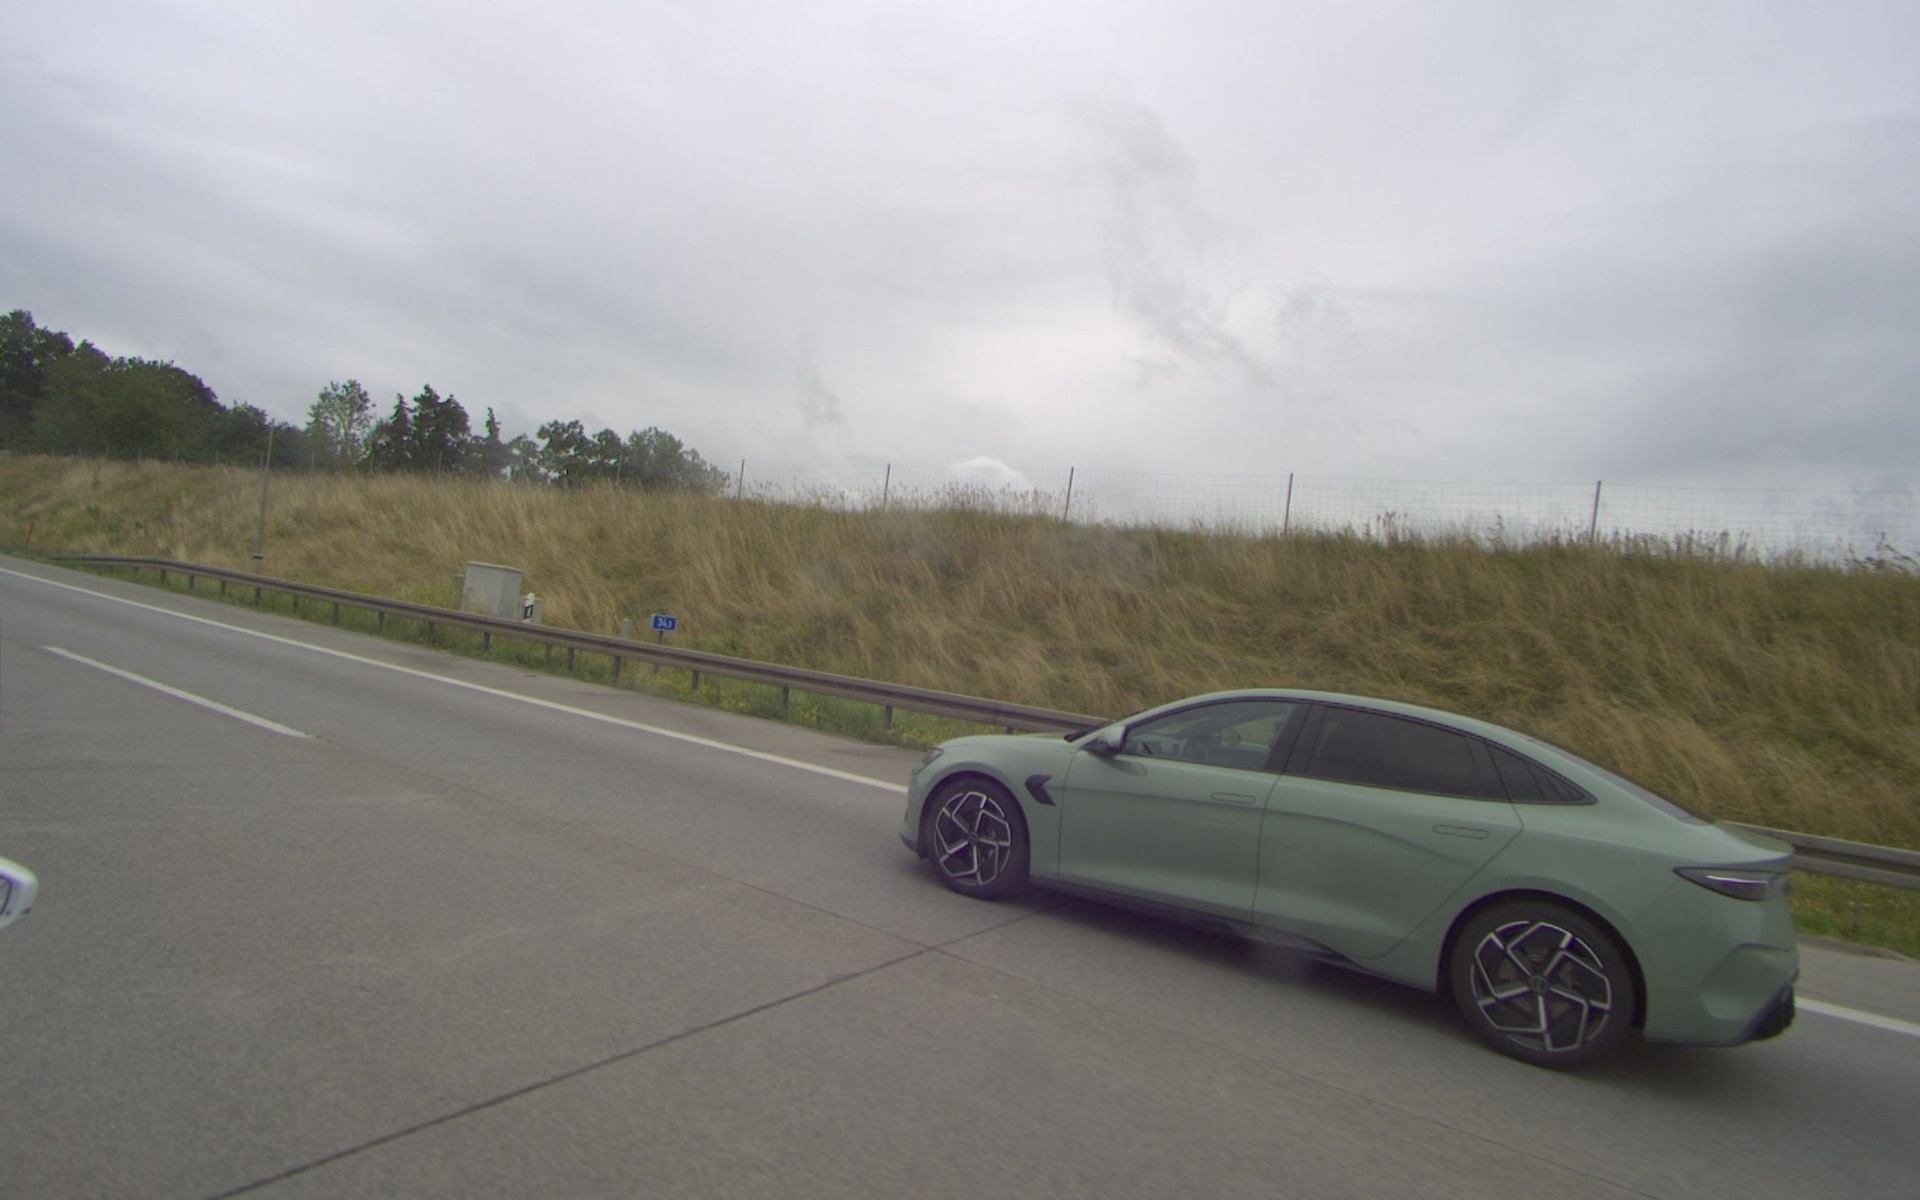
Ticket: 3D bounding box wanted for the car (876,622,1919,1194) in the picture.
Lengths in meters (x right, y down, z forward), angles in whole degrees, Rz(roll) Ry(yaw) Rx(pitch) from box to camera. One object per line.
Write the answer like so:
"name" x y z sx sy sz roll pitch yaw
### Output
"car" 2.063 1.193 5.679 4.666 1.464 2.016 8 1 32
